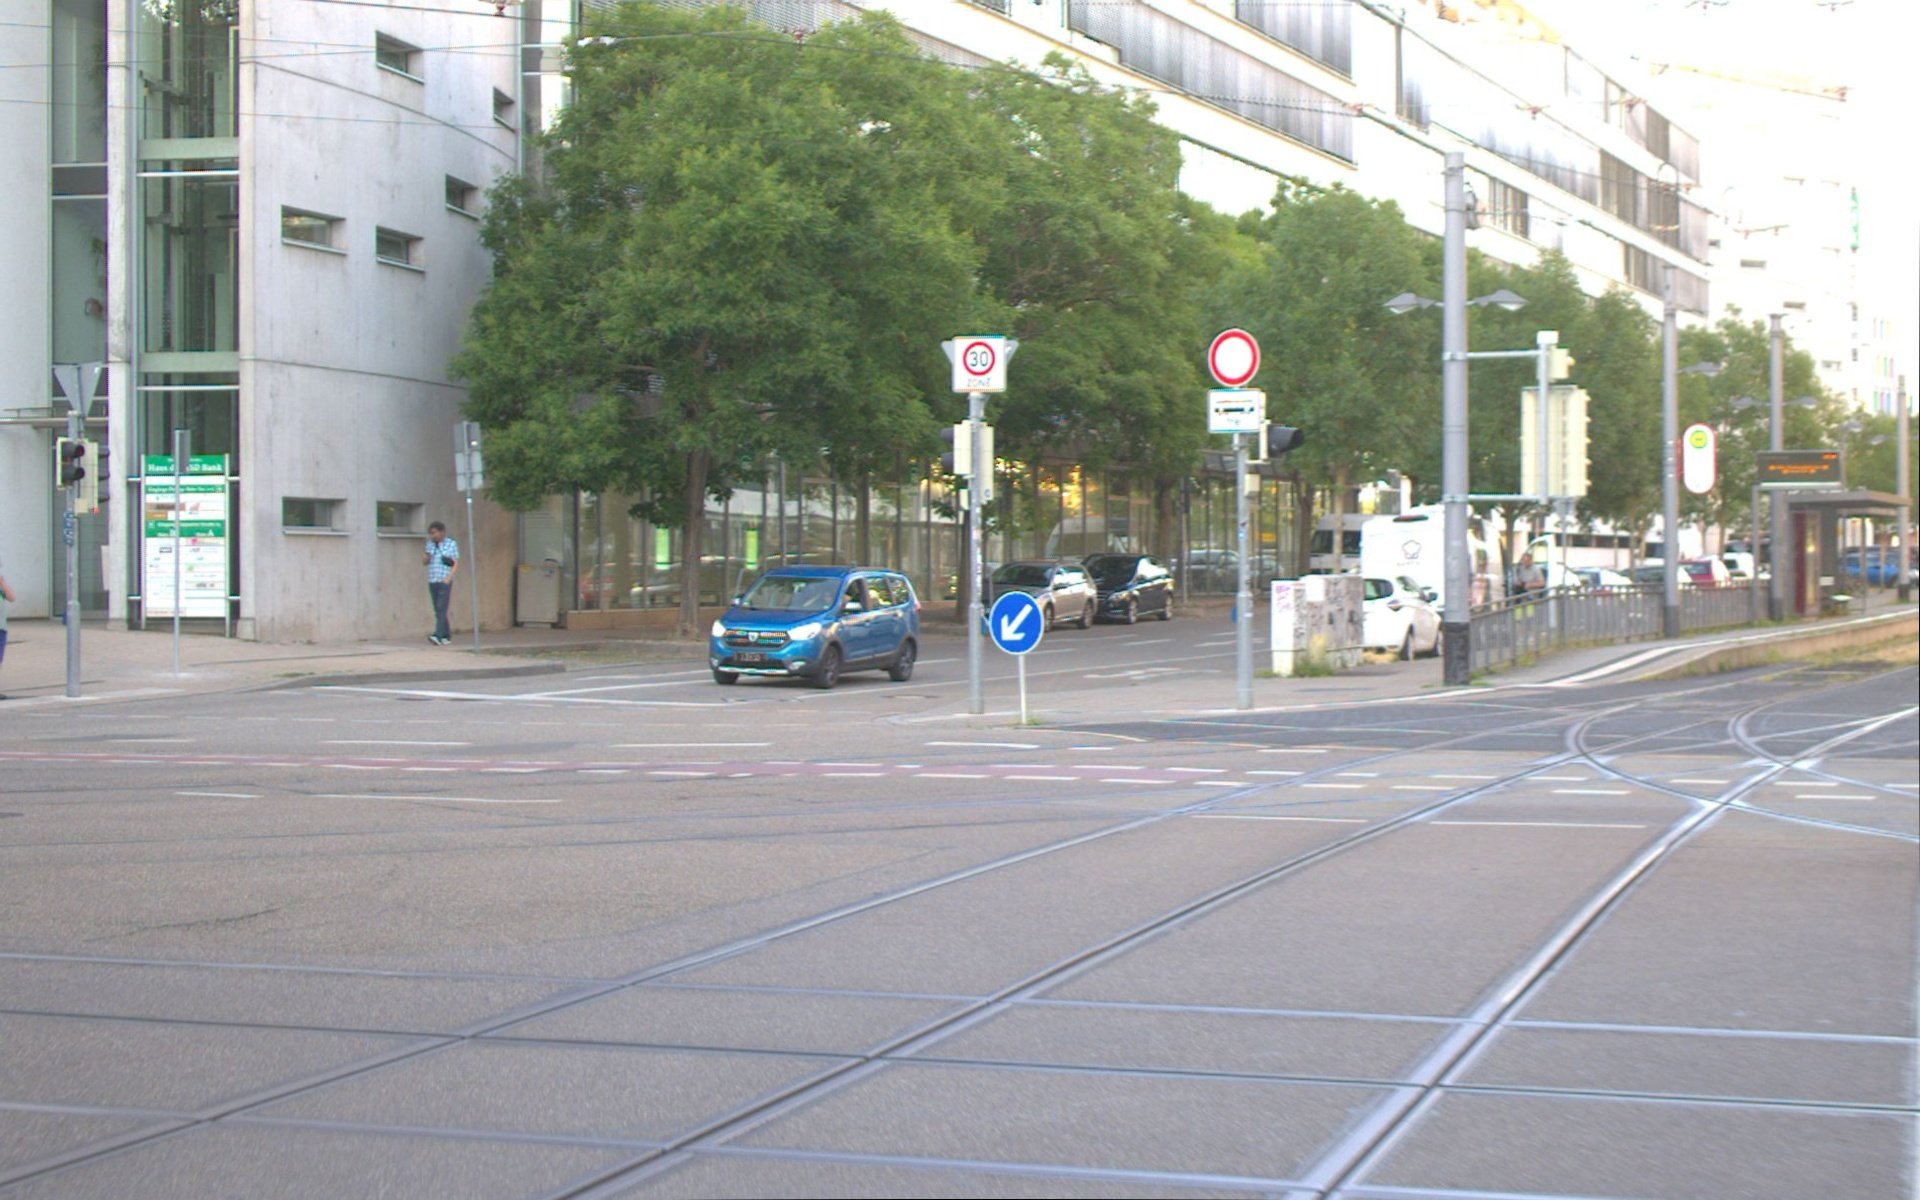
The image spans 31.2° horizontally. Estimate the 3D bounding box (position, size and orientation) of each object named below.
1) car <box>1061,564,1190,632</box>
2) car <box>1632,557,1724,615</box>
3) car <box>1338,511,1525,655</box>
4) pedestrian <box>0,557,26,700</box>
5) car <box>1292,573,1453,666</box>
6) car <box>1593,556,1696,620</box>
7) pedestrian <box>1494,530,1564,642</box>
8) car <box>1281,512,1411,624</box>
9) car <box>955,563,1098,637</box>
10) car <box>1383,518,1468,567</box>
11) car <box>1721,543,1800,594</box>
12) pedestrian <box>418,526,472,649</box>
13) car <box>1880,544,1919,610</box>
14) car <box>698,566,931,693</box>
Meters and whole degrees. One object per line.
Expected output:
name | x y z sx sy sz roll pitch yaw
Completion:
car | 3.837 -0.058 79.014 1.684 1.496 4.234 0 1 22
car | 18.455 -0.385 88.213 1.684 1.434 4.121 0 1 21
car | 8.608 -0.346 62.274 2.463 2.474 5.803 0 1 17
pedestrian | -11.581 0.336 40.981 0.547 1.705 0.659 0 1 31
car | 6.849 0.290 56.754 1.684 1.434 4.121 0 1 21
car | 15.985 -0.305 80.188 1.684 1.434 4.121 0 1 21
pedestrian | 10.371 -0.268 62.689 1.039 2.023 0.984 0 1 -6
car | 11.207 -0.940 99.473 2.204 3.141 6.136 0 1 22
car | 1.456 -0.028 73.227 1.684 1.496 4.234 0 1 22
car | 14.622 -1.795 107.876 1.684 1.496 4.234 0 1 22
car | 23.078 -0.930 99.009 1.684 1.434 4.121 0 1 21
pedestrian | -8.053 -0.198 53.753 0.662 1.916 0.548 -1 1 10
car | 29.913 -0.736 107.322 1.995 2.007 3.996 0 1 19
car | -2.021 0.376 48.977 1.685 1.694 4.234 0 1 23
